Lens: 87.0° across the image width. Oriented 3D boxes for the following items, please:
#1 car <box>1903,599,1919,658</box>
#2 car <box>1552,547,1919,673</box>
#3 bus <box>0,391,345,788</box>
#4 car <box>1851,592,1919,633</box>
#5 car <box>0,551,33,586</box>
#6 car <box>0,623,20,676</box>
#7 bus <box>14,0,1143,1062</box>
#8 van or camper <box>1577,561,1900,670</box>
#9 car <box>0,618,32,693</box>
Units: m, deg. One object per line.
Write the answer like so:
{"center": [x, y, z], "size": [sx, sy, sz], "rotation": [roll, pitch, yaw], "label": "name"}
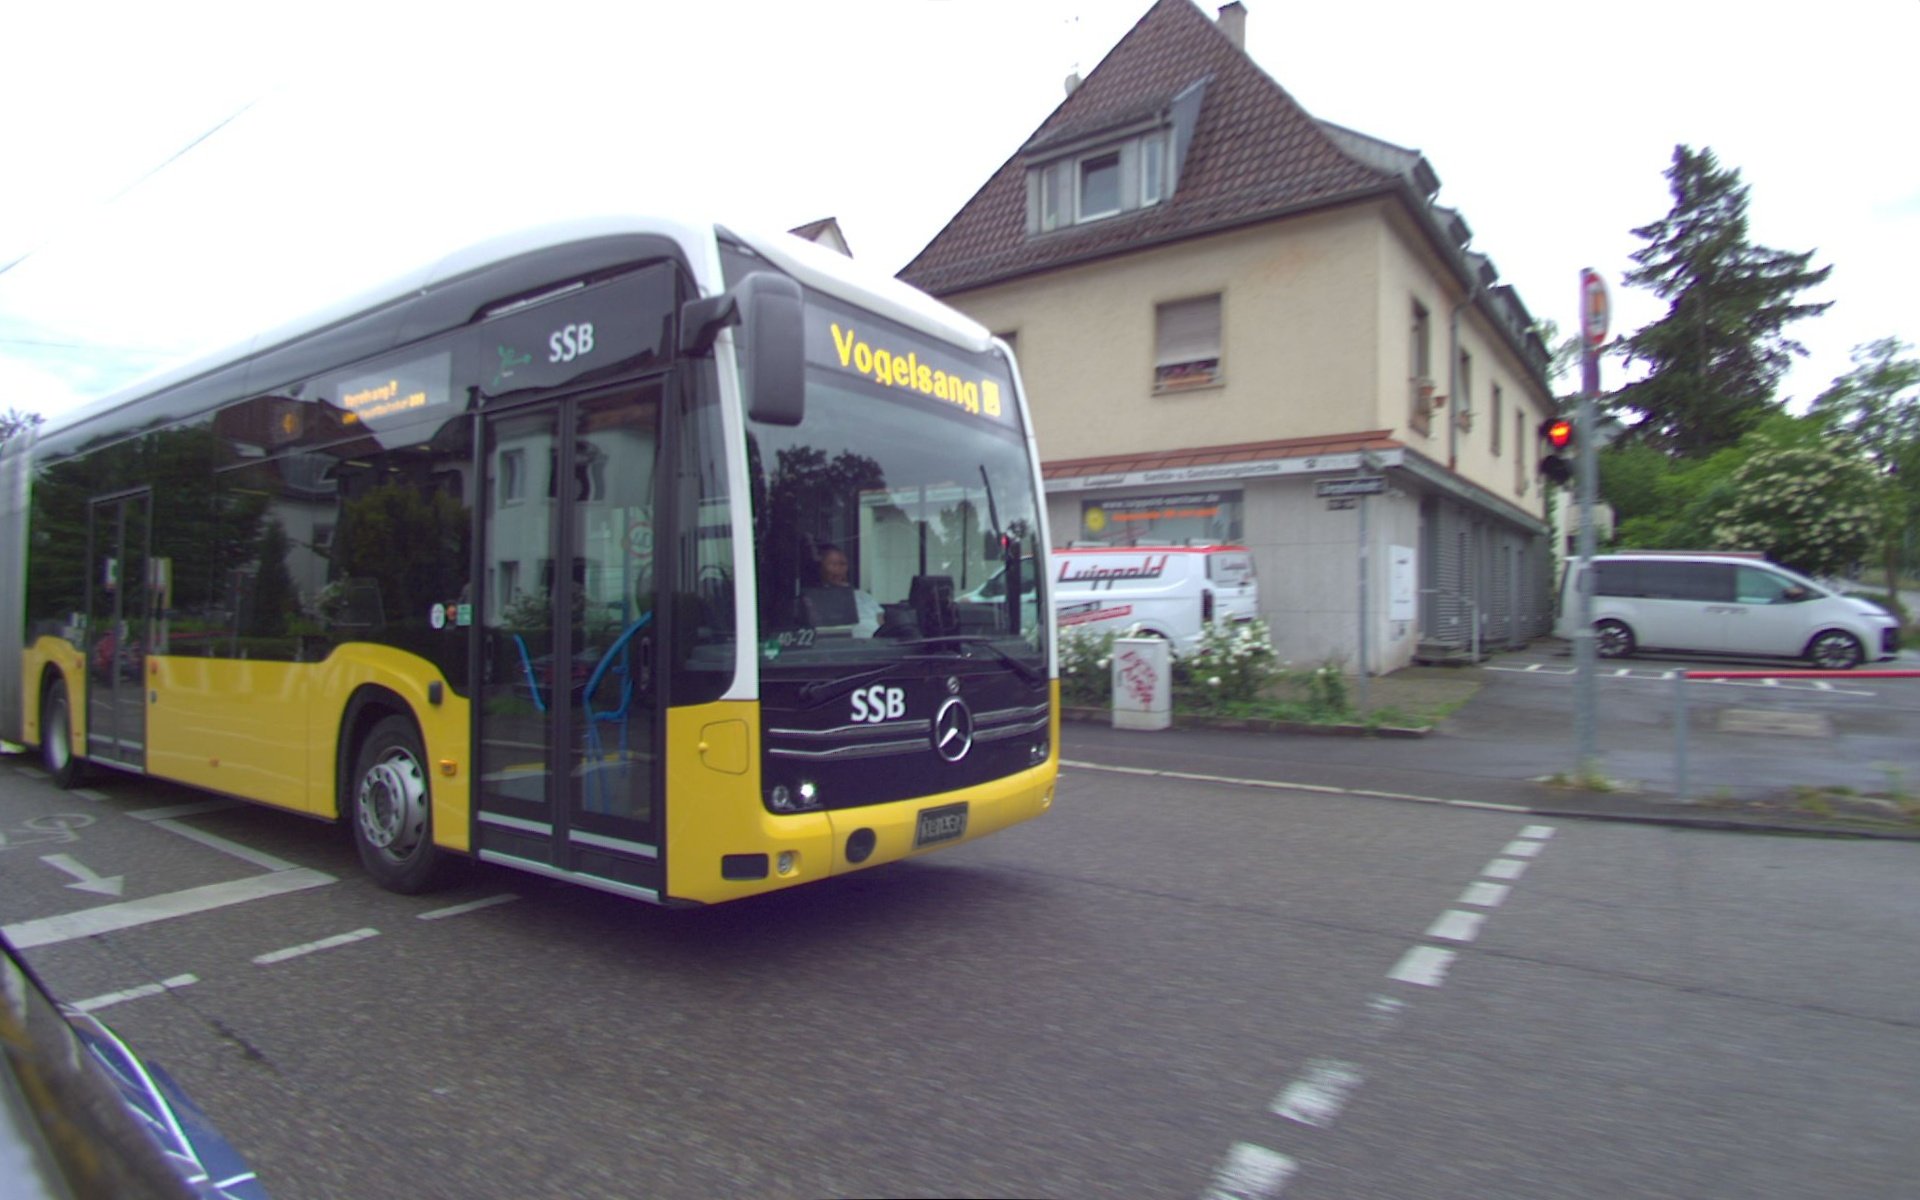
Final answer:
{"center": [25.440, 0.706, 25.578], "size": [2.001, 1.364, 3.949], "rotation": [0, 1, 38], "label": "car"}
{"center": [14.085, 0.181, 18.673], "size": [5.179, 2.029, 1.973], "rotation": [-1, 0, 41], "label": "car"}
{"center": [-10.821, 0.010, 12.466], "size": [8.668, 3.424, 2.651], "rotation": [-1, -2, 38], "label": "bus"}
{"center": [34.114, 0.431, 37.071], "size": [2.001, 1.364, 3.949], "rotation": [0, 1, 38], "label": "car"}
{"center": [-55.084, -1.863, 56.408], "size": [4.666, 1.823, 1.947], "rotation": [4, -3, -34], "label": "car"}
{"center": [-28.980, 1.457, 29.855], "size": [1.707, 1.490, 4.043], "rotation": [1, -3, -44], "label": "car"}
{"center": [-3.483, -0.159, 7.045], "size": [9.022, 3.424, 2.874], "rotation": [-1, -2, 36], "label": "bus"}
{"center": [16.161, 0.313, 21.305], "size": [5.178, 2.029, 1.973], "rotation": [-1, 0, 40], "label": "van or camper"}
{"center": [-20.914, 1.155, 21.195], "size": [1.971, 1.490, 4.488], "rotation": [1, -3, -45], "label": "car"}
